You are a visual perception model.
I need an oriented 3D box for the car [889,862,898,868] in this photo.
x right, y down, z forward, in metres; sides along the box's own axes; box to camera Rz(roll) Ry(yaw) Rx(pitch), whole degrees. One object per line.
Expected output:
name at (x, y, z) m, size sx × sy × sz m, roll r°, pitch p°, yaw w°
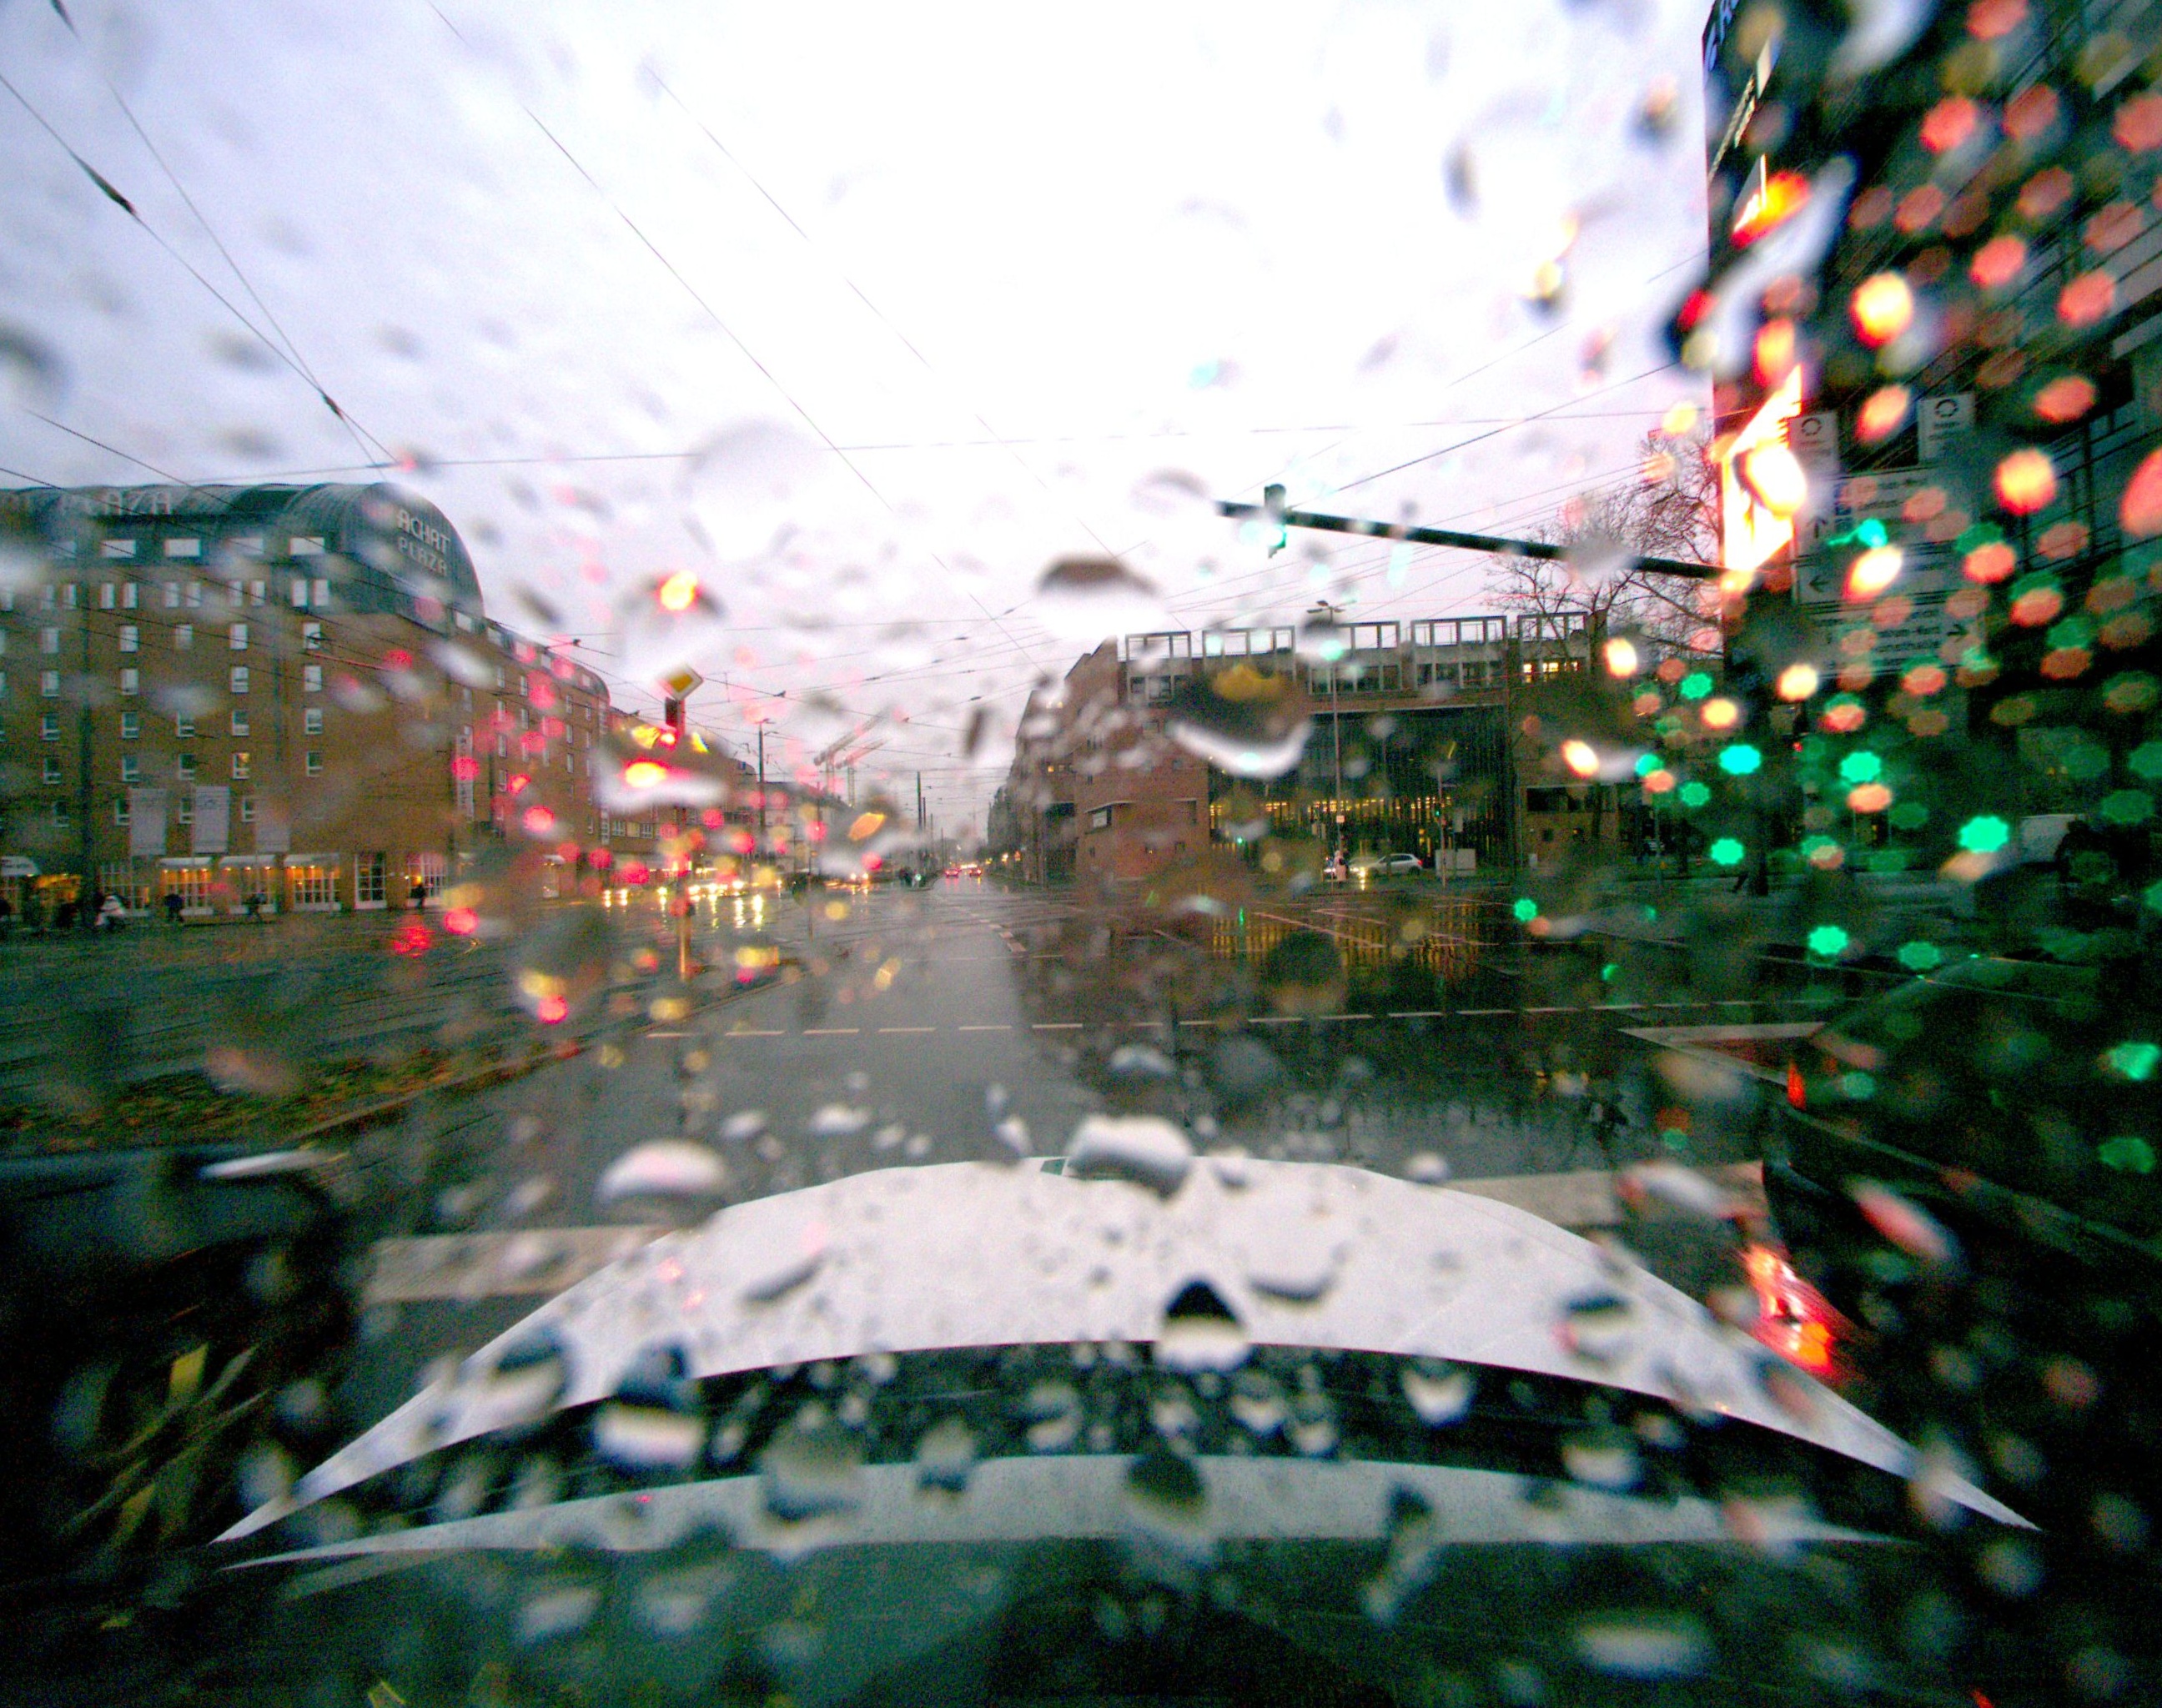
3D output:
car at (-40.767, 2.436, 176.977) m, size 1.681 × 1.354 × 3.534 m, roll -1°, pitch -1°, yaw -9°

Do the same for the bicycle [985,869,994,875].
bicycle at (-17.187, 3.321, 153.278) m, size 1.730 × 1.055 × 0.370 m, roll -3°, pitch -1°, yaw -10°

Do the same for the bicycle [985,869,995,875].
bicycle at (-17.050, 3.357, 152.678) m, size 1.730 × 1.055 × 0.370 m, roll -3°, pitch -1°, yaw -10°

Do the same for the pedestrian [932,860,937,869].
pedestrian at (-23.099, 1.661, 128.370) m, size 0.682 × 1.516 × 0.614 m, roll -1°, pitch -1°, yaw -21°

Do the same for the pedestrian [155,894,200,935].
pedestrian at (-43.874, 2.927, 39.557) m, size 0.852 × 1.899 × 1.165 m, roll -2°, pitch -1°, yaw 10°

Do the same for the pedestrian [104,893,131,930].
pedestrian at (-42.190, 2.508, 35.665) m, size 0.515 × 1.538 × 0.577 m, roll -2°, pitch -1°, yaw 10°

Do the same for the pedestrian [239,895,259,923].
pedestrian at (-46.083, 3.035, 45.096) m, size 0.515 × 1.538 × 0.577 m, roll -2°, pitch -1°, yaw 10°

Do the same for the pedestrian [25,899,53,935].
pedestrian at (-45.321, 2.727, 35.425) m, size 0.515 × 1.538 × 0.577 m, roll -2°, pitch -1°, yaw 10°

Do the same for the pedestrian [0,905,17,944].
pedestrian at (-43.073, 2.825, 32.488) m, size 0.515 × 1.538 × 0.577 m, roll -2°, pitch -1°, yaw 10°

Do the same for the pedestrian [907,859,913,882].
pedestrian at (-14.071, 1.343, 66.956) m, size 0.412 × 1.845 × 0.666 m, roll -1°, pitch -1°, yaw -13°

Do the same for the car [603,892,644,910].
car at (-39.998, 4.064, 71.281) m, size 1.611 × 1.321 × 4.216 m, roll -2°, pitch -1°, yaw -8°

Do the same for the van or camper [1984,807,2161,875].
van or camper at (30.884, -0.394, 25.116) m, size 4.733 × 1.929 × 1.835 m, roll -1°, pitch -1°, yaw -10°

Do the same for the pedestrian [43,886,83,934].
pedestrian at (-43.665, 2.384, 34.933) m, size 0.755 × 2.014 × 0.706 m, roll -2°, pitch -1°, yaw -5°

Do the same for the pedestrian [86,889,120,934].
pedestrian at (-44.929, 2.626, 37.410) m, size 0.699 × 2.014 × 0.762 m, roll -2°, pitch -1°, yaw 17°

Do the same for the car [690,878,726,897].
car at (-32.506, 2.883, 71.058) m, size 1.667 × 1.495 × 4.190 m, roll -2°, pitch -1°, yaw -7°

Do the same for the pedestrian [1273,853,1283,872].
pedestrian at (15.055, 0.627, 62.232) m, size 0.732 × 1.389 × 0.740 m, roll -2°, pitch -1°, yaw 12°

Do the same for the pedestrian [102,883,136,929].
pedestrian at (-43.160, 2.342, 36.540) m, size 0.699 × 2.014 × 0.762 m, roll -2°, pitch -1°, yaw 17°

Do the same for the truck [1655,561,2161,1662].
truck at (2.804, 0.440, 0.381) m, size 1.897 × 1.917 × 4.618 m, roll 0°, pitch 0°, yaw 1°

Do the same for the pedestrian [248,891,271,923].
pedestrian at (-39.841, 2.567, 39.505) m, size 0.515 × 1.538 × 0.577 m, roll -2°, pitch -1°, yaw 10°

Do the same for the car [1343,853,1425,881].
car at (17.311, 0.739, 46.690) m, size 3.976 × 1.341 × 1.810 m, roll -3°, pitch -1°, yaw -6°

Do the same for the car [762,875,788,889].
car at (-30.313, 2.767, 80.755) m, size 1.681 × 1.354 × 3.534 m, roll -1°, pitch -1°, yaw -9°

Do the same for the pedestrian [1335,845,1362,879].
pedestrian at (14.507, 0.424, 44.181) m, size 1.148 × 1.787 × 0.775 m, roll -2°, pitch -1°, yaw -8°

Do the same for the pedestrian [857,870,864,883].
pedestrian at (-21.121, 2.161, 78.050) m, size 0.579 × 1.153 × 0.489 m, roll 0°, pitch -1°, yaw -7°

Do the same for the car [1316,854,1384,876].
car at (18.413, 0.753, 55.821) m, size 3.977 × 1.310 × 1.810 m, roll -1°, pitch -1°, yaw -7°

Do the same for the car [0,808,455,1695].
car at (-2.822, 0.726, 0.584) m, size 1.673 × 1.573 × 3.763 m, roll -2°, pitch -1°, yaw 3°

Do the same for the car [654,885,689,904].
car at (-35.622, 3.512, 70.893) m, size 1.580 × 1.495 × 3.586 m, roll -2°, pitch -1°, yaw -7°

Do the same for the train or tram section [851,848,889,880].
train or tram section at (-24.830, 1.202, 96.447) m, size 2.948 × 3.589 × 12.220 m, roll 0°, pitch -1°, yaw -8°

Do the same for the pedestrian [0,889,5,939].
pedestrian at (-43.901, 2.430, 32.603) m, size 0.699 × 2.014 × 0.762 m, roll -2°, pitch -1°, yaw 17°

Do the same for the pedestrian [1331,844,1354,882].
pedestrian at (12.509, 0.445, 39.018) m, size 0.734 × 1.787 × 0.732 m, roll -2°, pitch -1°, yaw -12°

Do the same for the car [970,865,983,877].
car at (-17.643, 2.894, 137.783) m, size 1.991 × 2.014 × 3.991 m, roll -2°, pitch -1°, yaw -7°

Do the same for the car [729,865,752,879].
car at (-47.951, 2.540, 114.754) m, size 1.993 × 2.014 × 3.988 m, roll 0°, pitch -1°, yaw -9°

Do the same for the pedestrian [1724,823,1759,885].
pedestrian at (19.730, 0.002, 24.326) m, size 0.805 × 1.811 × 0.643 m, roll -1°, pitch -1°, yaw -42°

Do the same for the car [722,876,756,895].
car at (-32.966, 3.028, 78.594) m, size 1.828 × 1.709 × 4.690 m, roll -1°, pitch -1°, yaw -9°

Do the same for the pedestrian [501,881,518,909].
pedestrian at (-42.350, 3.057, 60.343) m, size 0.939 × 2.014 × 0.751 m, roll -1°, pitch -1°, yaw -32°

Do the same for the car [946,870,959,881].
car at (-19.833, 3.316, 125.557) m, size 1.782 × 1.467 × 3.141 m, roll -2°, pitch -1°, yaw -7°

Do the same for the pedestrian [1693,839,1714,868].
pedestrian at (29.521, -0.021, 38.621) m, size 0.603 × 1.364 × 0.478 m, roll -2°, pitch -1°, yaw -1°
